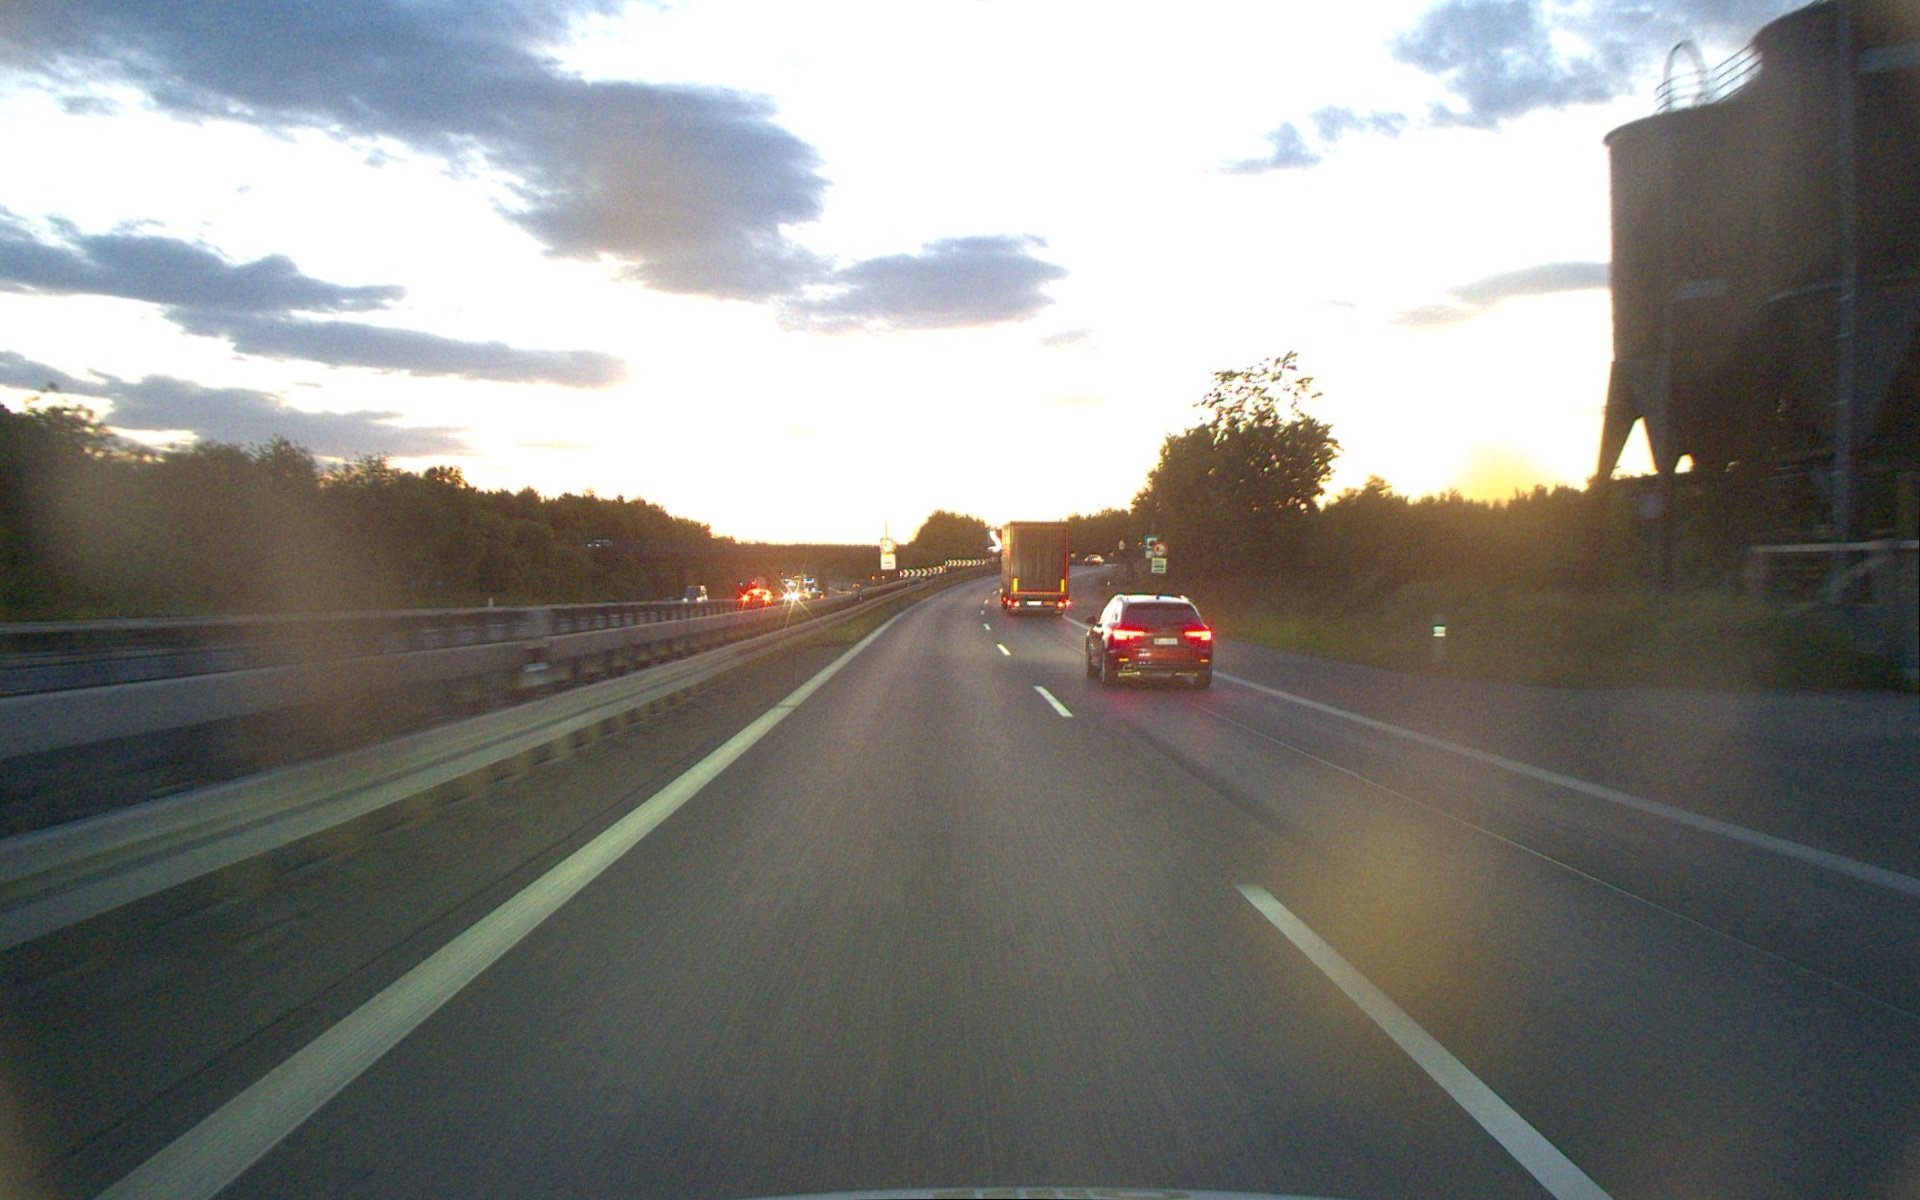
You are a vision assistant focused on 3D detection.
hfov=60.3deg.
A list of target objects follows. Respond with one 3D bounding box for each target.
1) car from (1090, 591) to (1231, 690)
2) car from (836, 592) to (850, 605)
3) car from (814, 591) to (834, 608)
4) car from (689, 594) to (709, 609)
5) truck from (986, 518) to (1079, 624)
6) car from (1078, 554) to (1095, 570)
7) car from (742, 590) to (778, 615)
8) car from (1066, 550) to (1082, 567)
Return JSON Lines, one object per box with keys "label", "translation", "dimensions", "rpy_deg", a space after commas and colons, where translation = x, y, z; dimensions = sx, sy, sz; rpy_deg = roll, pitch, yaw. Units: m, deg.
{"label": "car", "translation": [3.267, 0.620, 27.651], "dimensions": [1.876, 1.467, 4.000], "rpy_deg": [-2, 0, 1]}
{"label": "car", "translation": [-15.157, -0.224, 214.668], "dimensions": [1.604, 1.573, 3.394], "rpy_deg": [-2, 0, -1]}
{"label": "car", "translation": [-13.791, -0.047, 167.750], "dimensions": [1.678, 1.633, 3.721], "rpy_deg": [-2, 0, -1]}
{"label": "car", "translation": [-29.935, 0.156, 189.803], "dimensions": [1.661, 1.585, 3.832], "rpy_deg": [-2, 0, 0]}
{"label": "truck", "translation": [3.148, -1.229, 74.649], "dimensions": [3.439, 4.376, 9.888], "rpy_deg": [-2, 0, -1]}
{"label": "car", "translation": [16.133, -4.864, 211.192], "dimensions": [1.862, 2.049, 3.859], "rpy_deg": [0, 0, -1]}
{"label": "car", "translation": [-13.161, 0.167, 108.884], "dimensions": [1.834, 1.588, 4.519], "rpy_deg": [-2, 0, -1]}
{"label": "car", "translation": [14.913, -5.430, 216.913], "dimensions": [1.725, 2.049, 3.517], "rpy_deg": [-2, 0, -1]}
